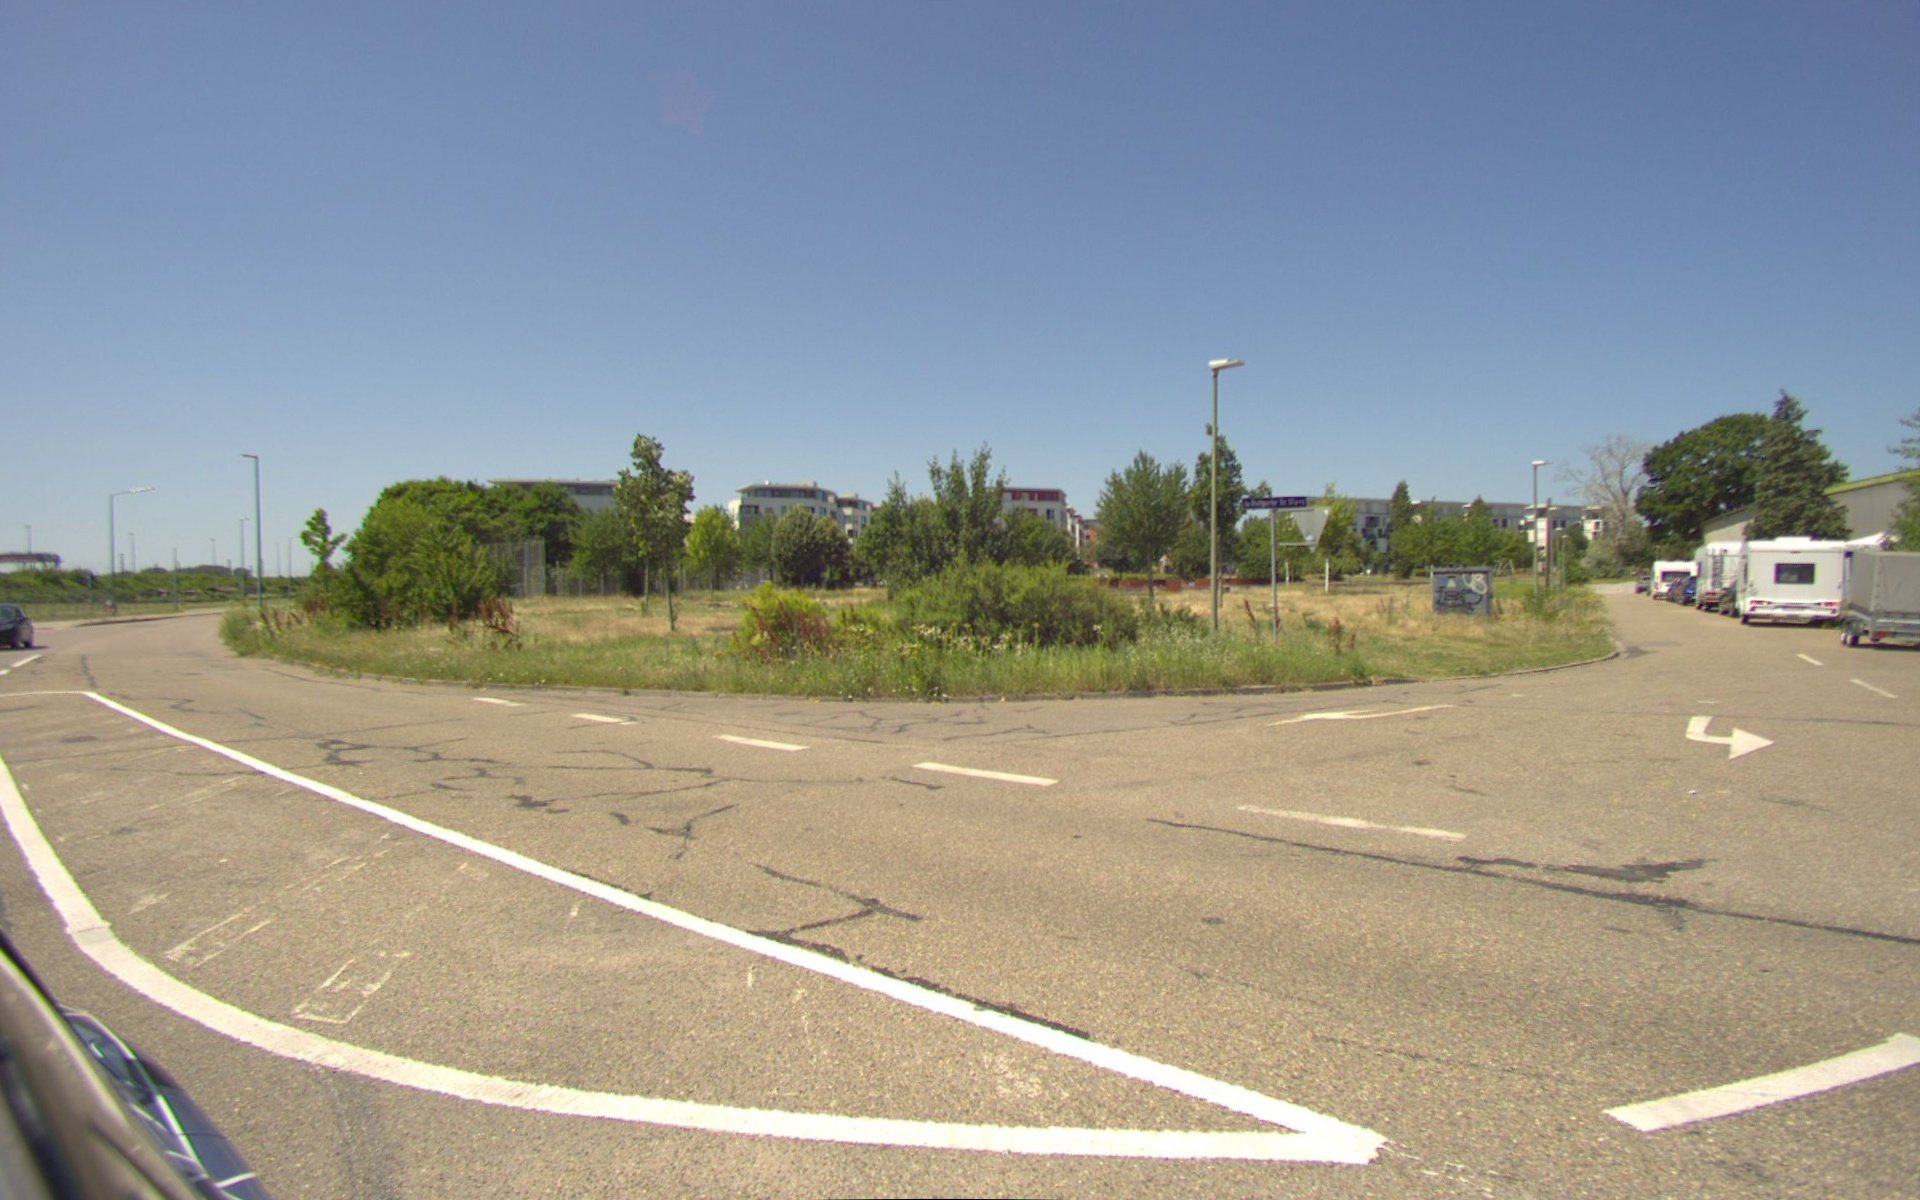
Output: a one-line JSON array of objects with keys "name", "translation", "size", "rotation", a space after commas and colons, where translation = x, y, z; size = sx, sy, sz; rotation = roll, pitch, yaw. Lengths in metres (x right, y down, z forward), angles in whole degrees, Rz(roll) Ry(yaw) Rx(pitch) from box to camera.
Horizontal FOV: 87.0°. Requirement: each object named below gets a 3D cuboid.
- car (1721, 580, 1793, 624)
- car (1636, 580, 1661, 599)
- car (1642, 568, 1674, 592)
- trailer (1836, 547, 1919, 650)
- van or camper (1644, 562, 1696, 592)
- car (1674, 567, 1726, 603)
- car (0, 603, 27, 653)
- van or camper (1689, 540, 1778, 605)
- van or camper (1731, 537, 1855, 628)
[{"name": "car", "translation": [30.116, 0.038, 38.325], "size": [1.911, 1.563, 3.953], "rotation": [0, 1, 35]}, {"name": "car", "translation": [62.426, -0.982, 91.805], "size": [1.585, 1.609, 3.544], "rotation": [0, 1, 30]}, {"name": "car", "translation": [54.277, -1.538, 78.730], "size": [1.750, 1.785, 3.544], "rotation": [0, 1, 30]}, {"name": "trailer", "translation": [20.205, -0.066, 21.646], "size": [1.755, 2.061, 3.387], "rotation": [0, 1, 33]}, {"name": "van or camper", "translation": [46.915, -1.483, 66.976], "size": [2.349, 1.894, 5.008], "rotation": [-1, 1, 30]}, {"name": "car", "translation": [38.044, -0.766, 52.103], "size": [1.750, 1.785, 3.544], "rotation": [-1, 1, 30]}, {"name": "car", "translation": [-30.408, 0.854, 31.405], "size": [1.628, 1.477, 4.169], "rotation": [-1, 1, -36]}, {"name": "van or camper", "translation": [33.493, -1.158, 44.008], "size": [2.464, 2.613, 5.905], "rotation": [0, 1, 32]}, {"name": "van or camper", "translation": [25.919, -0.613, 31.666], "size": [2.485, 2.610, 4.417], "rotation": [-1, 3, 33]}]
